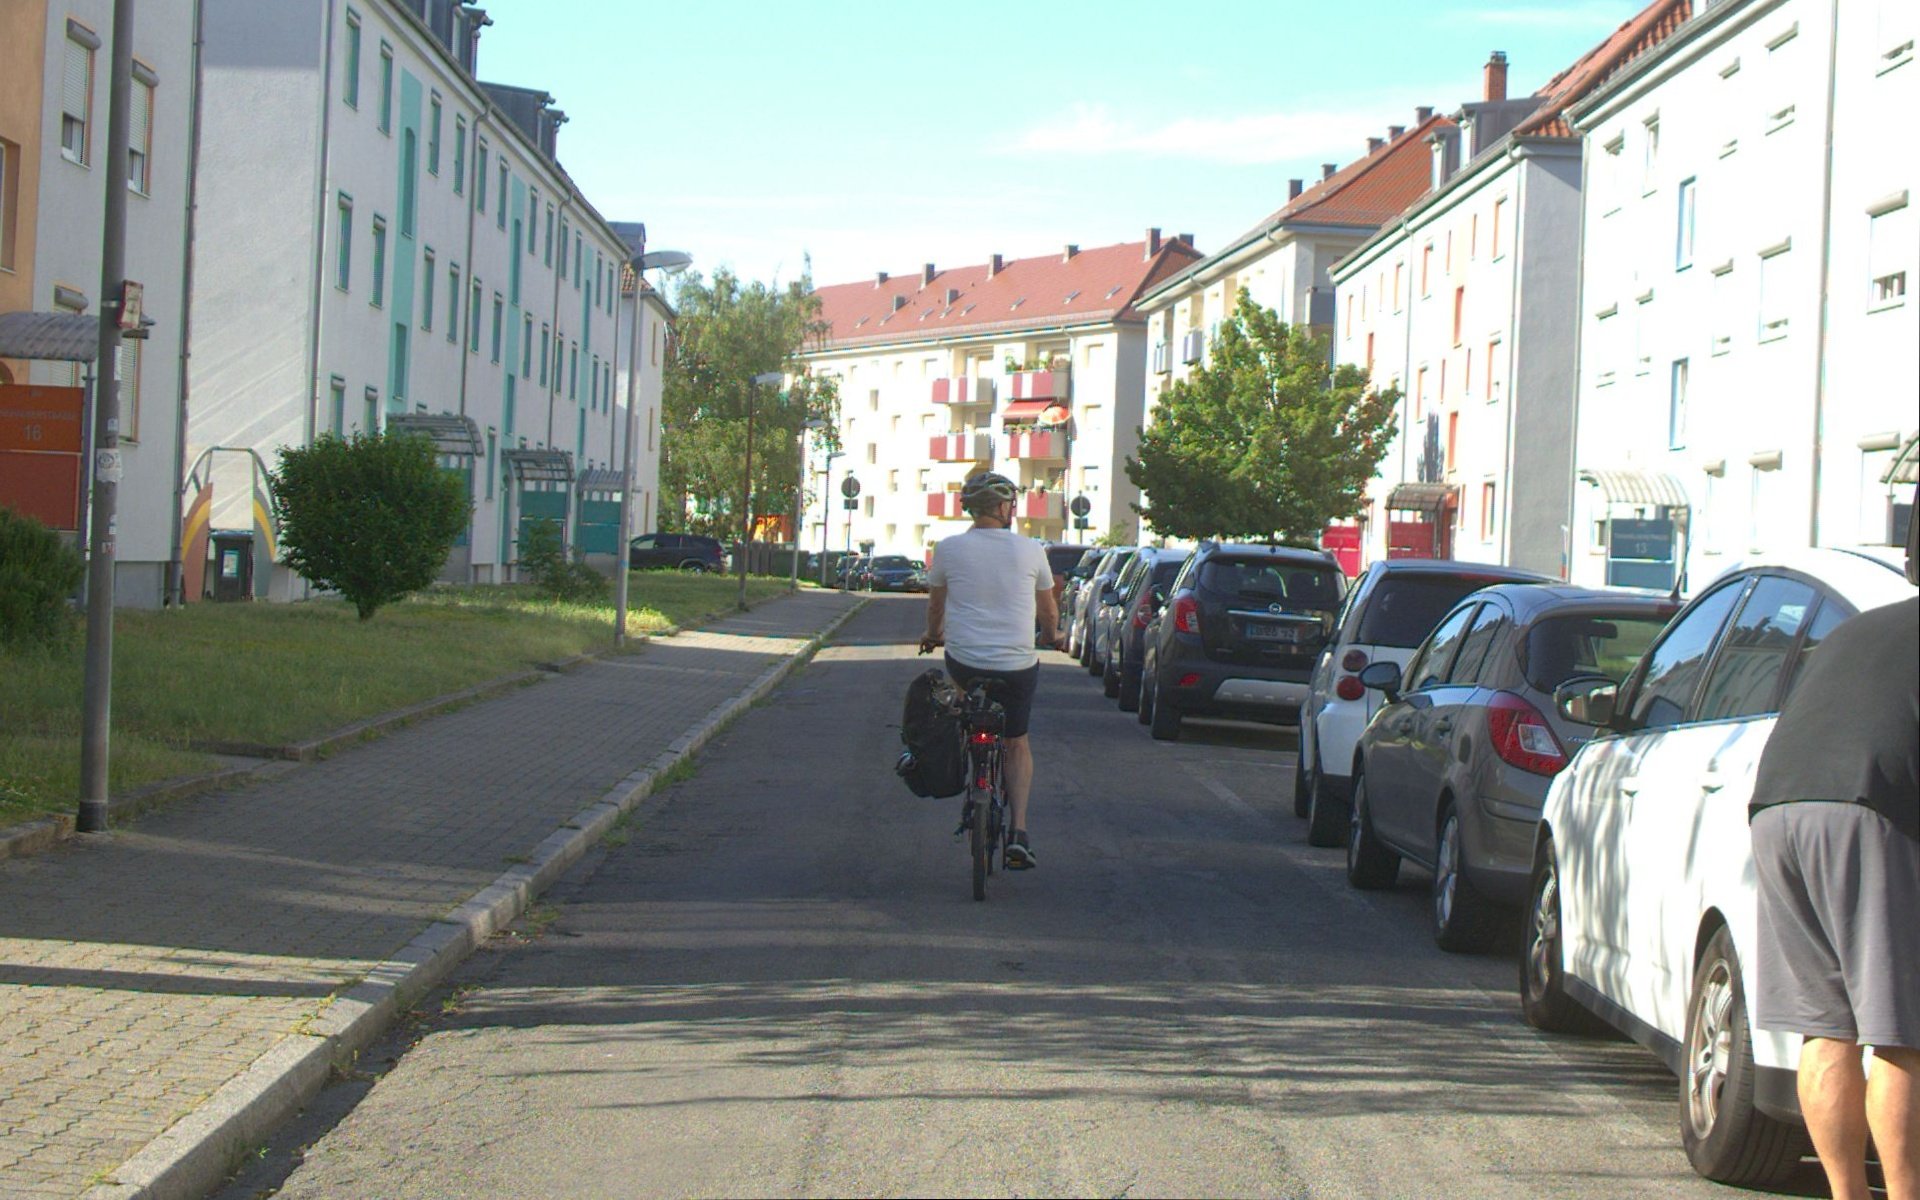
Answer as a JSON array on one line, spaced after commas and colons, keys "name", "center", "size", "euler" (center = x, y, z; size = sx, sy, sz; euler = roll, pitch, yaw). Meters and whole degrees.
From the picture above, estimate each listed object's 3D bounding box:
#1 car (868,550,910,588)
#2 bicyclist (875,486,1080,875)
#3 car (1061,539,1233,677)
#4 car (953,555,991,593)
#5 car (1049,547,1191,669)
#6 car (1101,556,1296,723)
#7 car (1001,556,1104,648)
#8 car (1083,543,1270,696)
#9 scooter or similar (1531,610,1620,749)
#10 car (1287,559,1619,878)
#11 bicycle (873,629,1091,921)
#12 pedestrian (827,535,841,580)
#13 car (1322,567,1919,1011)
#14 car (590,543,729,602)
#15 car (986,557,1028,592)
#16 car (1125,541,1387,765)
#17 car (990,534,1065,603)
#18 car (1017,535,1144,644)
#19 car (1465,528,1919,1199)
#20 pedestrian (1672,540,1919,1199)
[{"name": "car", "center": [-2.613, -1.133, 126.255], "size": [1.469, 1.331, 3.141], "euler": [1, 1, -2]}, {"name": "bicyclist", "center": [0.065, 0.337, 15.103], "size": [0.808, 1.638, 0.899], "euler": [2, 1, -3]}, {"name": "car", "center": [2.447, 0.062, 46.085], "size": [1.750, 1.612, 4.452], "euler": [5, 1, -2]}, {"name": "car", "center": [0.492, -1.076, 142.361], "size": [1.381, 1.492, 3.077], "euler": [1, 1, -2]}, {"name": "car", "center": [2.342, 0.086, 51.293], "size": [1.712, 1.590, 4.398], "euler": [5, 1, -1]}, {"name": "car", "center": [2.326, 0.343, 34.428], "size": [1.641, 1.493, 4.156], "euler": [2, 1, 1]}, {"name": "car", "center": [1.836, 0.014, 69.541], "size": [1.700, 1.665, 4.380], "euler": [4, 1, -2]}, {"name": "car", "center": [2.456, 0.179, 40.033], "size": [1.690, 1.569, 4.435], "euler": [4, 1, -1]}, {"name": "scooter or similar", "center": [5.365, 0.678, 30.019], "size": [0.483, 1.145, 1.589], "euler": [0, 1, 0]}, {"name": "car", "center": [2.673, 0.594, 19.154], "size": [1.480, 1.524, 2.940], "euler": [5, 1, 4]}, {"name": "bicycle", "center": [0.065, 0.726, 15.086], "size": [0.808, 1.124, 2.102], "euler": [2, 1, -3]}, {"name": "pedestrian", "center": [-4.482, -1.506, 122.318], "size": [0.434, 1.569, 0.543], "euler": [1, 1, -1]}, {"name": "car", "center": [2.702, 0.681, 14.680], "size": [1.693, 1.486, 3.985], "euler": [4, 1, -1]}, {"name": "car", "center": [-9.339, -0.859, 107.145], "size": [4.231, 1.633, 1.583], "euler": [2, 1, -4]}, {"name": "car", "center": [1.849, -1.014, 135.672], "size": [1.469, 1.331, 3.141], "euler": [1, 1, -2]}, {"name": "car", "center": [2.442, 0.381, 29.330], "size": [1.783, 1.642, 4.468], "euler": [4, 1, 1]}, {"name": "car", "center": [1.800, -0.872, 93.046], "size": [1.674, 1.733, 3.943], "euler": [4, 1, -2]}, {"name": "car", "center": [2.026, -0.195, 58.819], "size": [1.862, 1.662, 4.127], "euler": [4, 1, 0]}, {"name": "car", "center": [2.759, 0.694, 9.559], "size": [1.994, 1.607, 4.995], "euler": [4, 1, 2]}, {"name": "pedestrian", "center": [2.017, 0.665, 7.401], "size": [0.739, 1.569, 0.880], "euler": [1, 1, -1]}]
